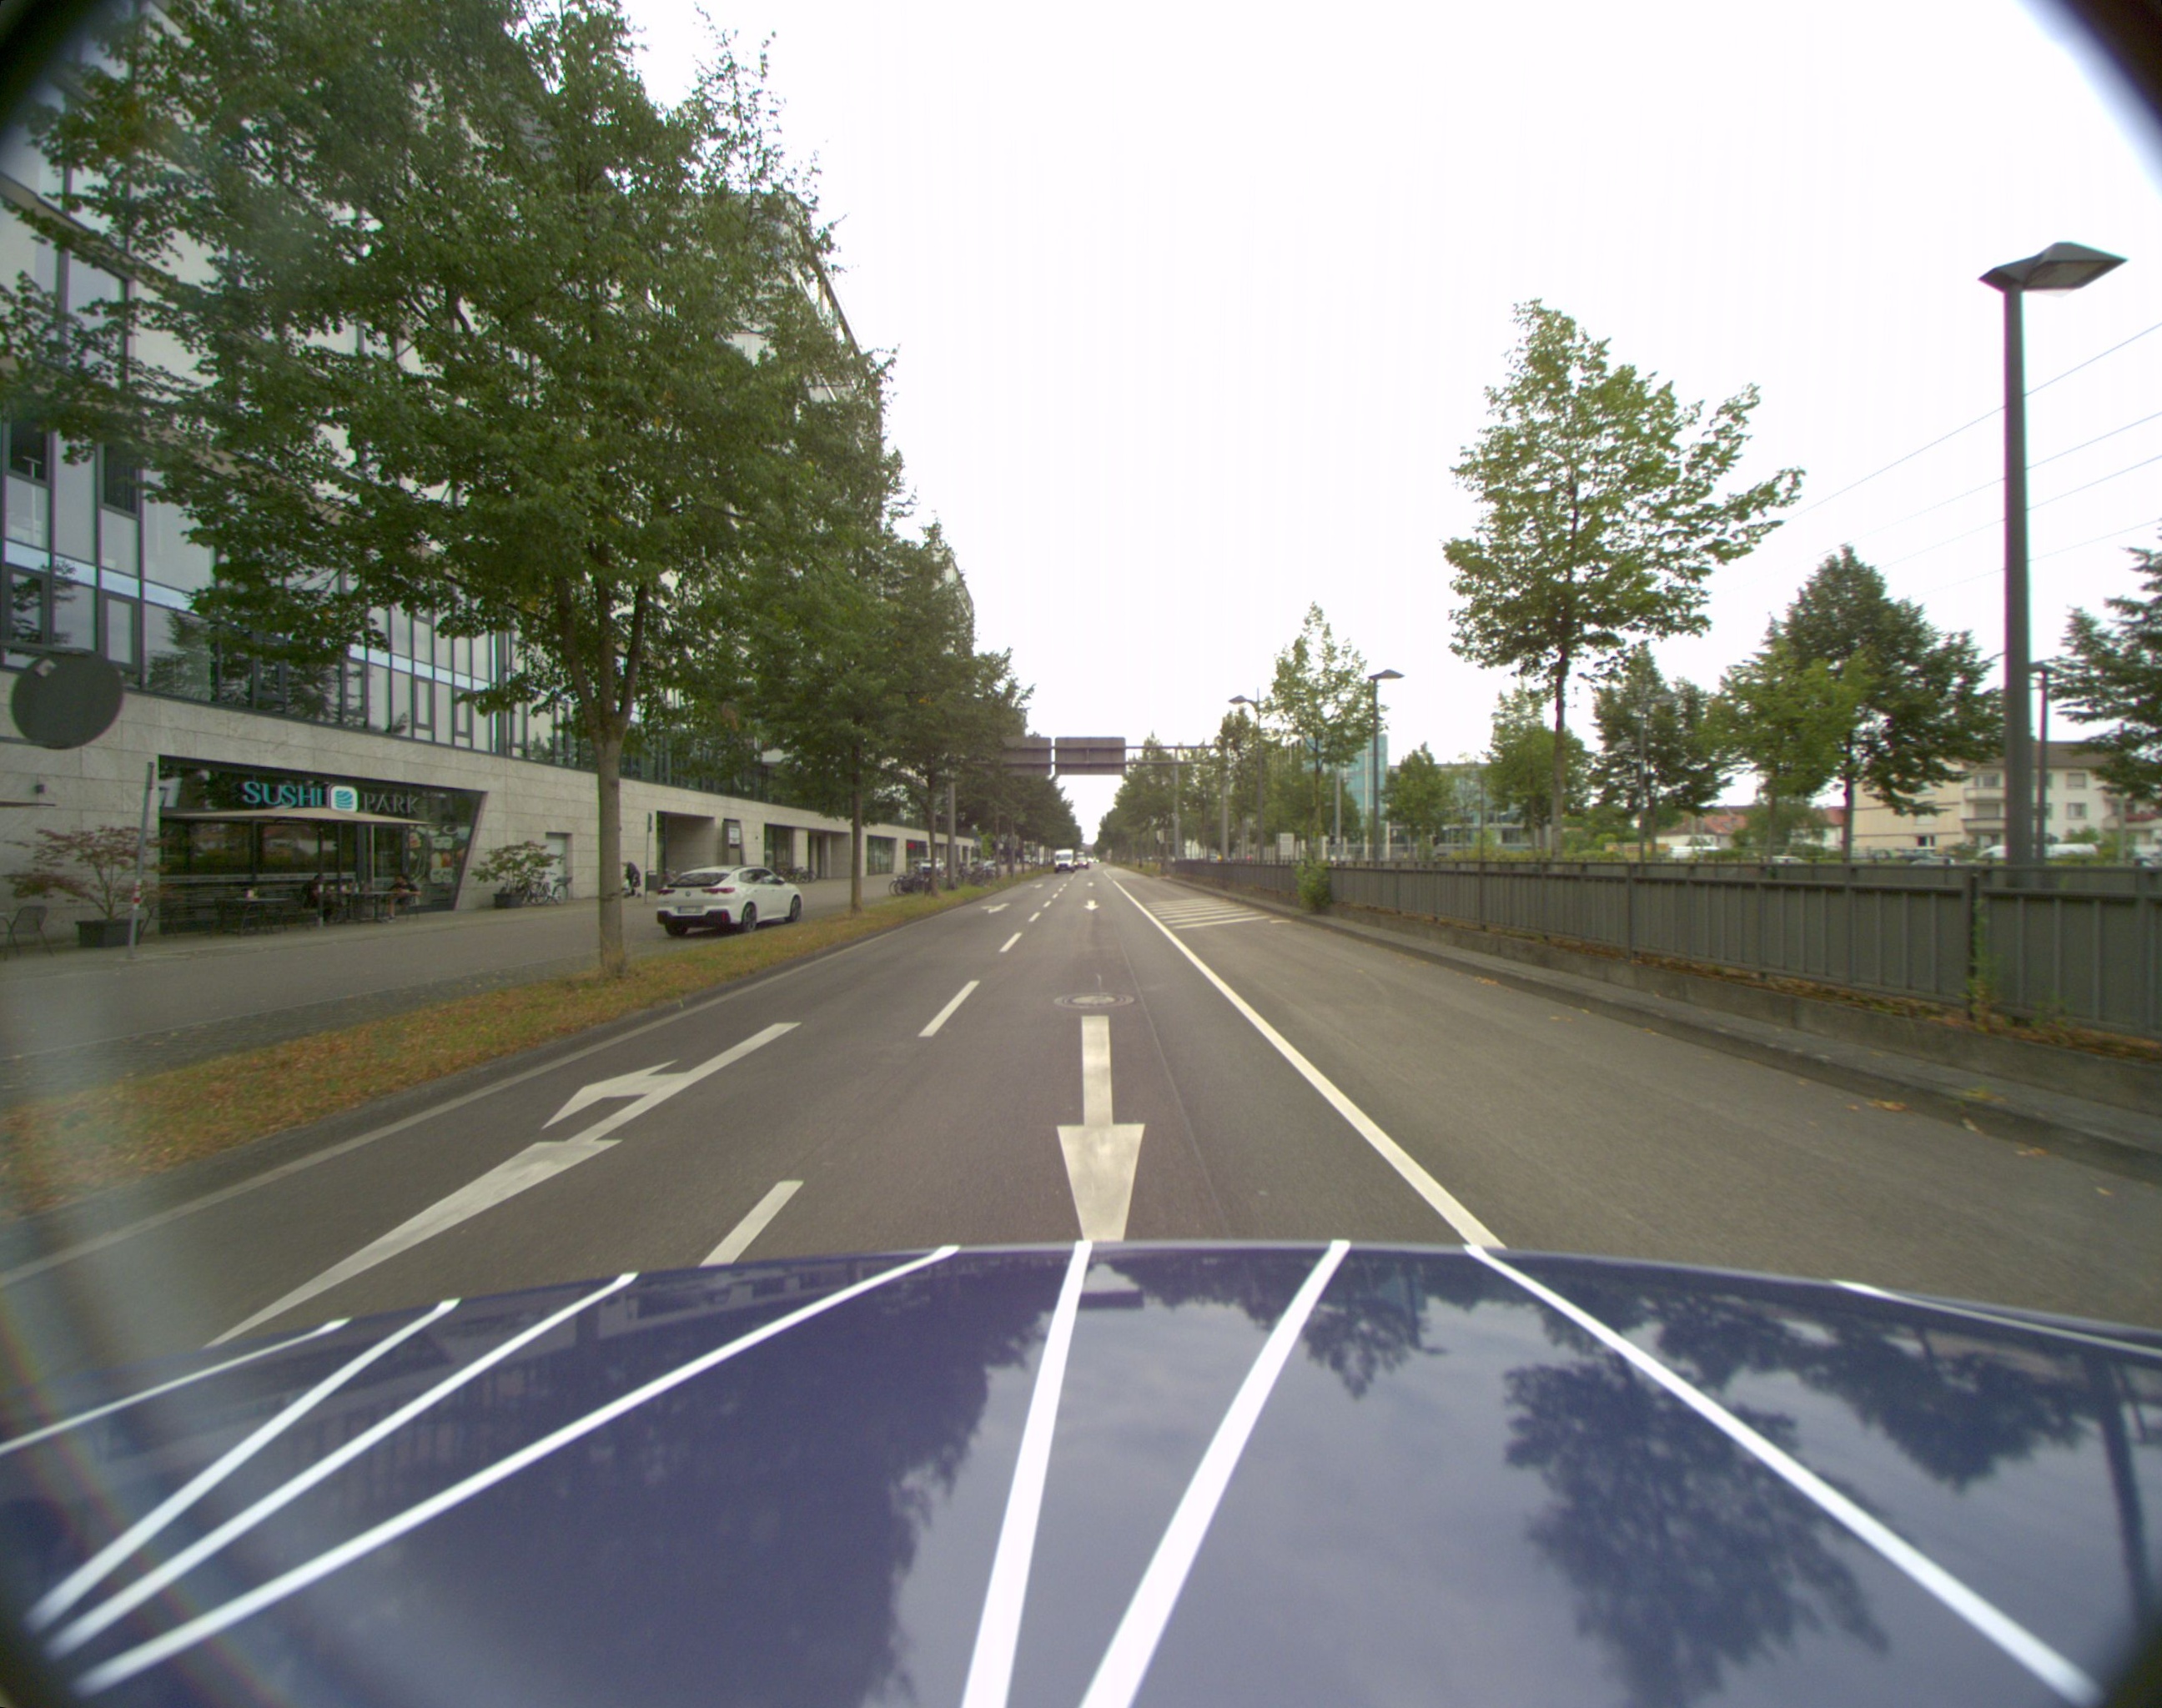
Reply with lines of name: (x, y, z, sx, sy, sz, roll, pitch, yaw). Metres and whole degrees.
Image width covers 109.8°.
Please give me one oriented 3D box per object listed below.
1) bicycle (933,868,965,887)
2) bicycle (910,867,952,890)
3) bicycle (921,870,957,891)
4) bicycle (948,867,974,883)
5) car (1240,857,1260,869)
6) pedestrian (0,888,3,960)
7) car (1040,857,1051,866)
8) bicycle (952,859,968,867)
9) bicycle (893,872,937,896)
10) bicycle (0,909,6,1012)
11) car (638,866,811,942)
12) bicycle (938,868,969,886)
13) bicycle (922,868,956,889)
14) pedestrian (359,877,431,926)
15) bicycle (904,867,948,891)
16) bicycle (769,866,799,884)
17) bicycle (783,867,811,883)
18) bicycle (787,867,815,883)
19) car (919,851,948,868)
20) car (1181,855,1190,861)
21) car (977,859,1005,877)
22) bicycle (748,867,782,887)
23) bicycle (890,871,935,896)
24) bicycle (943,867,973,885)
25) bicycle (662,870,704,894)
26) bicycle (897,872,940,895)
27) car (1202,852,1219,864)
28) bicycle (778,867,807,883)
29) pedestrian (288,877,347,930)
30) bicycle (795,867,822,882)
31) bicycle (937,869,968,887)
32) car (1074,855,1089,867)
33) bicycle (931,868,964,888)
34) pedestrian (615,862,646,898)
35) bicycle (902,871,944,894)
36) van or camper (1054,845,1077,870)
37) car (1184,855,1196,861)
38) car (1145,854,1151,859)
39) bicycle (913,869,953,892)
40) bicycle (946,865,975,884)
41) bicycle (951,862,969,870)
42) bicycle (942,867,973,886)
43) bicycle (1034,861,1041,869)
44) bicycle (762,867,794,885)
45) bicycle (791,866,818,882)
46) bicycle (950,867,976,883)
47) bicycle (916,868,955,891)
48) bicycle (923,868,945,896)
bicycle: (-7.508, 1.336, 43.263, 1.720, 0.968, 0.609, -4, 0, -8)
bicycle: (-7.571, 1.228, 38.349, 1.935, 1.059, 0.641, -4, 0, -2)
bicycle: (-7.515, 1.382, 40.306, 1.749, 0.968, 0.609, -4, 0, -8)
bicycle: (-7.717, 1.371, 48.932, 1.533, 0.947, 0.552, -3, 0, -2)
car: (24.868, 1.295, 112.034, 1.832, 1.646, 4.691, 0, 0, -1)
pedestrian: (-18.259, 1.163, 12.227, 0.720, 1.185, 0.759, 0, 0, 2)
car: (-6.630, 1.399, 141.400, 1.954, 1.521, 4.000, 0, 0, 0)
bicycle: (-17.312, 1.258, 108.742, 2.238, 1.170, 0.975, -1, 0, -7)
bicycle: (-7.727, 1.397, 35.410, 1.865, 0.946, 0.501, -4, 0, -2)
bicycle: (-13.396, 1.264, 8.004, 0.904, 1.228, 2.268, 2, 0, 0)
car: (-8.384, 1.091, 18.418, 1.943, 1.543, 4.594, -1, 0, 1)
bicycle: (-7.492, 1.355, 44.558, 1.720, 0.900, 0.588, -4, 0, -8)
bicycle: (-7.638, 1.315, 40.928, 1.749, 0.968, 0.609, -4, 0, -8)
pedestrian: (-17.362, 1.183, 19.255, 0.773, 1.185, 1.107, 0, 0, 16)
bicycle: (-7.656, 1.227, 37.590, 1.935, 1.059, 0.705, -4, 0, -2)
bicycle: (-17.494, 1.249, 44.820, 1.533, 1.020, 0.533, 0, 0, -2)
bicycle: (-17.479, 1.305, 46.812, 1.533, 0.948, 0.533, 0, 0, -2)
bicycle: (-17.461, 1.301, 47.418, 1.533, 0.948, 0.533, 0, 0, -2)
car: (-14.036, 0.524, 72.639, 1.862, 1.579, 4.240, 2, 0, 1)
car: (25.282, 0.922, 183.667, 1.752, 1.448, 3.865, -1, 0, 2)
car: (-7.635, 1.184, 64.650, 1.765, 1.413, 4.183, -1, 0, 1)
bicycle: (-17.205, 1.253, 41.381, 1.602, 1.020, 0.533, 0, 0, -2)
bicycle: (-7.713, 1.330, 34.742, 1.865, 0.989, 0.574, -4, 0, -2)
bicycle: (-7.549, 1.346, 46.592, 1.778, 1.006, 0.610, -3, 0, -8)
bicycle: (-17.721, 1.233, 33.864, 1.605, 1.020, 0.609, 0, 0, -26)
bicycle: (-7.709, 1.392, 36.158, 1.865, 0.946, 0.652, -4, 0, -2)
car: (22.191, 0.654, 130.051, 1.998, 1.933, 5.096, -1, 0, 0)
bicycle: (-17.459, 1.245, 45.987, 1.533, 0.948, 0.533, 0, 0, -2)
pedestrian: (-18.024, 1.145, 17.937, 0.719, 1.185, 0.760, 0, 0, 23)
bicycle: (-17.532, 1.305, 48.918, 1.533, 0.948, 0.533, 0, 0, -2)
bicycle: (-7.432, 1.377, 43.923, 1.720, 0.900, 0.588, -4, 0, -8)
car: (0.045, 0.962, 106.287, 1.973, 1.528, 4.139, 0, 0, 1)
bicycle: (-7.481, 1.340, 42.613, 1.749, 0.968, 0.609, -4, 0, -8)
pedestrian: (-17.679, 1.021, 29.840, 0.758, 1.398, 0.721, 0, 0, 8)
bicycle: (-7.667, 1.385, 36.899, 1.865, 0.946, 0.612, -4, 0, -2)
van or camper: (-1.583, 0.404, 80.787, 2.183, 2.493, 6.339, -2, 0, 0)
car: (23.712, 0.841, 164.690, 1.999, 1.410, 4.000, -1, 0, 0)
car: (22.581, 0.840, 254.829, 1.752, 1.448, 3.865, -1, 0, 2)
bicycle: (-7.601, 1.348, 39.081, 1.935, 1.059, 0.543, -4, 0, -8)
bicycle: (-7.536, 1.267, 47.422, 1.672, 1.084, 0.525, -3, 0, -2)
bicycle: (-17.498, 1.733, 109.975, 2.426, 1.170, 1.202, -1, 0, -7)
bicycle: (-7.465, 1.339, 45.899, 1.778, 1.006, 0.610, -4, 0, -8)
bicycle: (-5.472, 1.339, 95.081, 0.634, 0.871, 2.116, -3, 0, 2)
bicycle: (-17.215, 1.259, 43.226, 1.602, 1.020, 0.533, 0, 0, -2)
bicycle: (-17.504, 1.263, 48.112, 1.533, 0.948, 0.533, 0, 0, -2)
bicycle: (-7.468, 1.329, 48.158, 1.533, 0.947, 0.484, -3, 0, -2)
bicycle: (-7.583, 1.345, 39.661, 1.935, 1.059, 0.543, -4, 0, -8)
bicycle: (-6.170, 1.159, 31.976, 0.712, 1.109, 2.202, -4, 0, -7)
